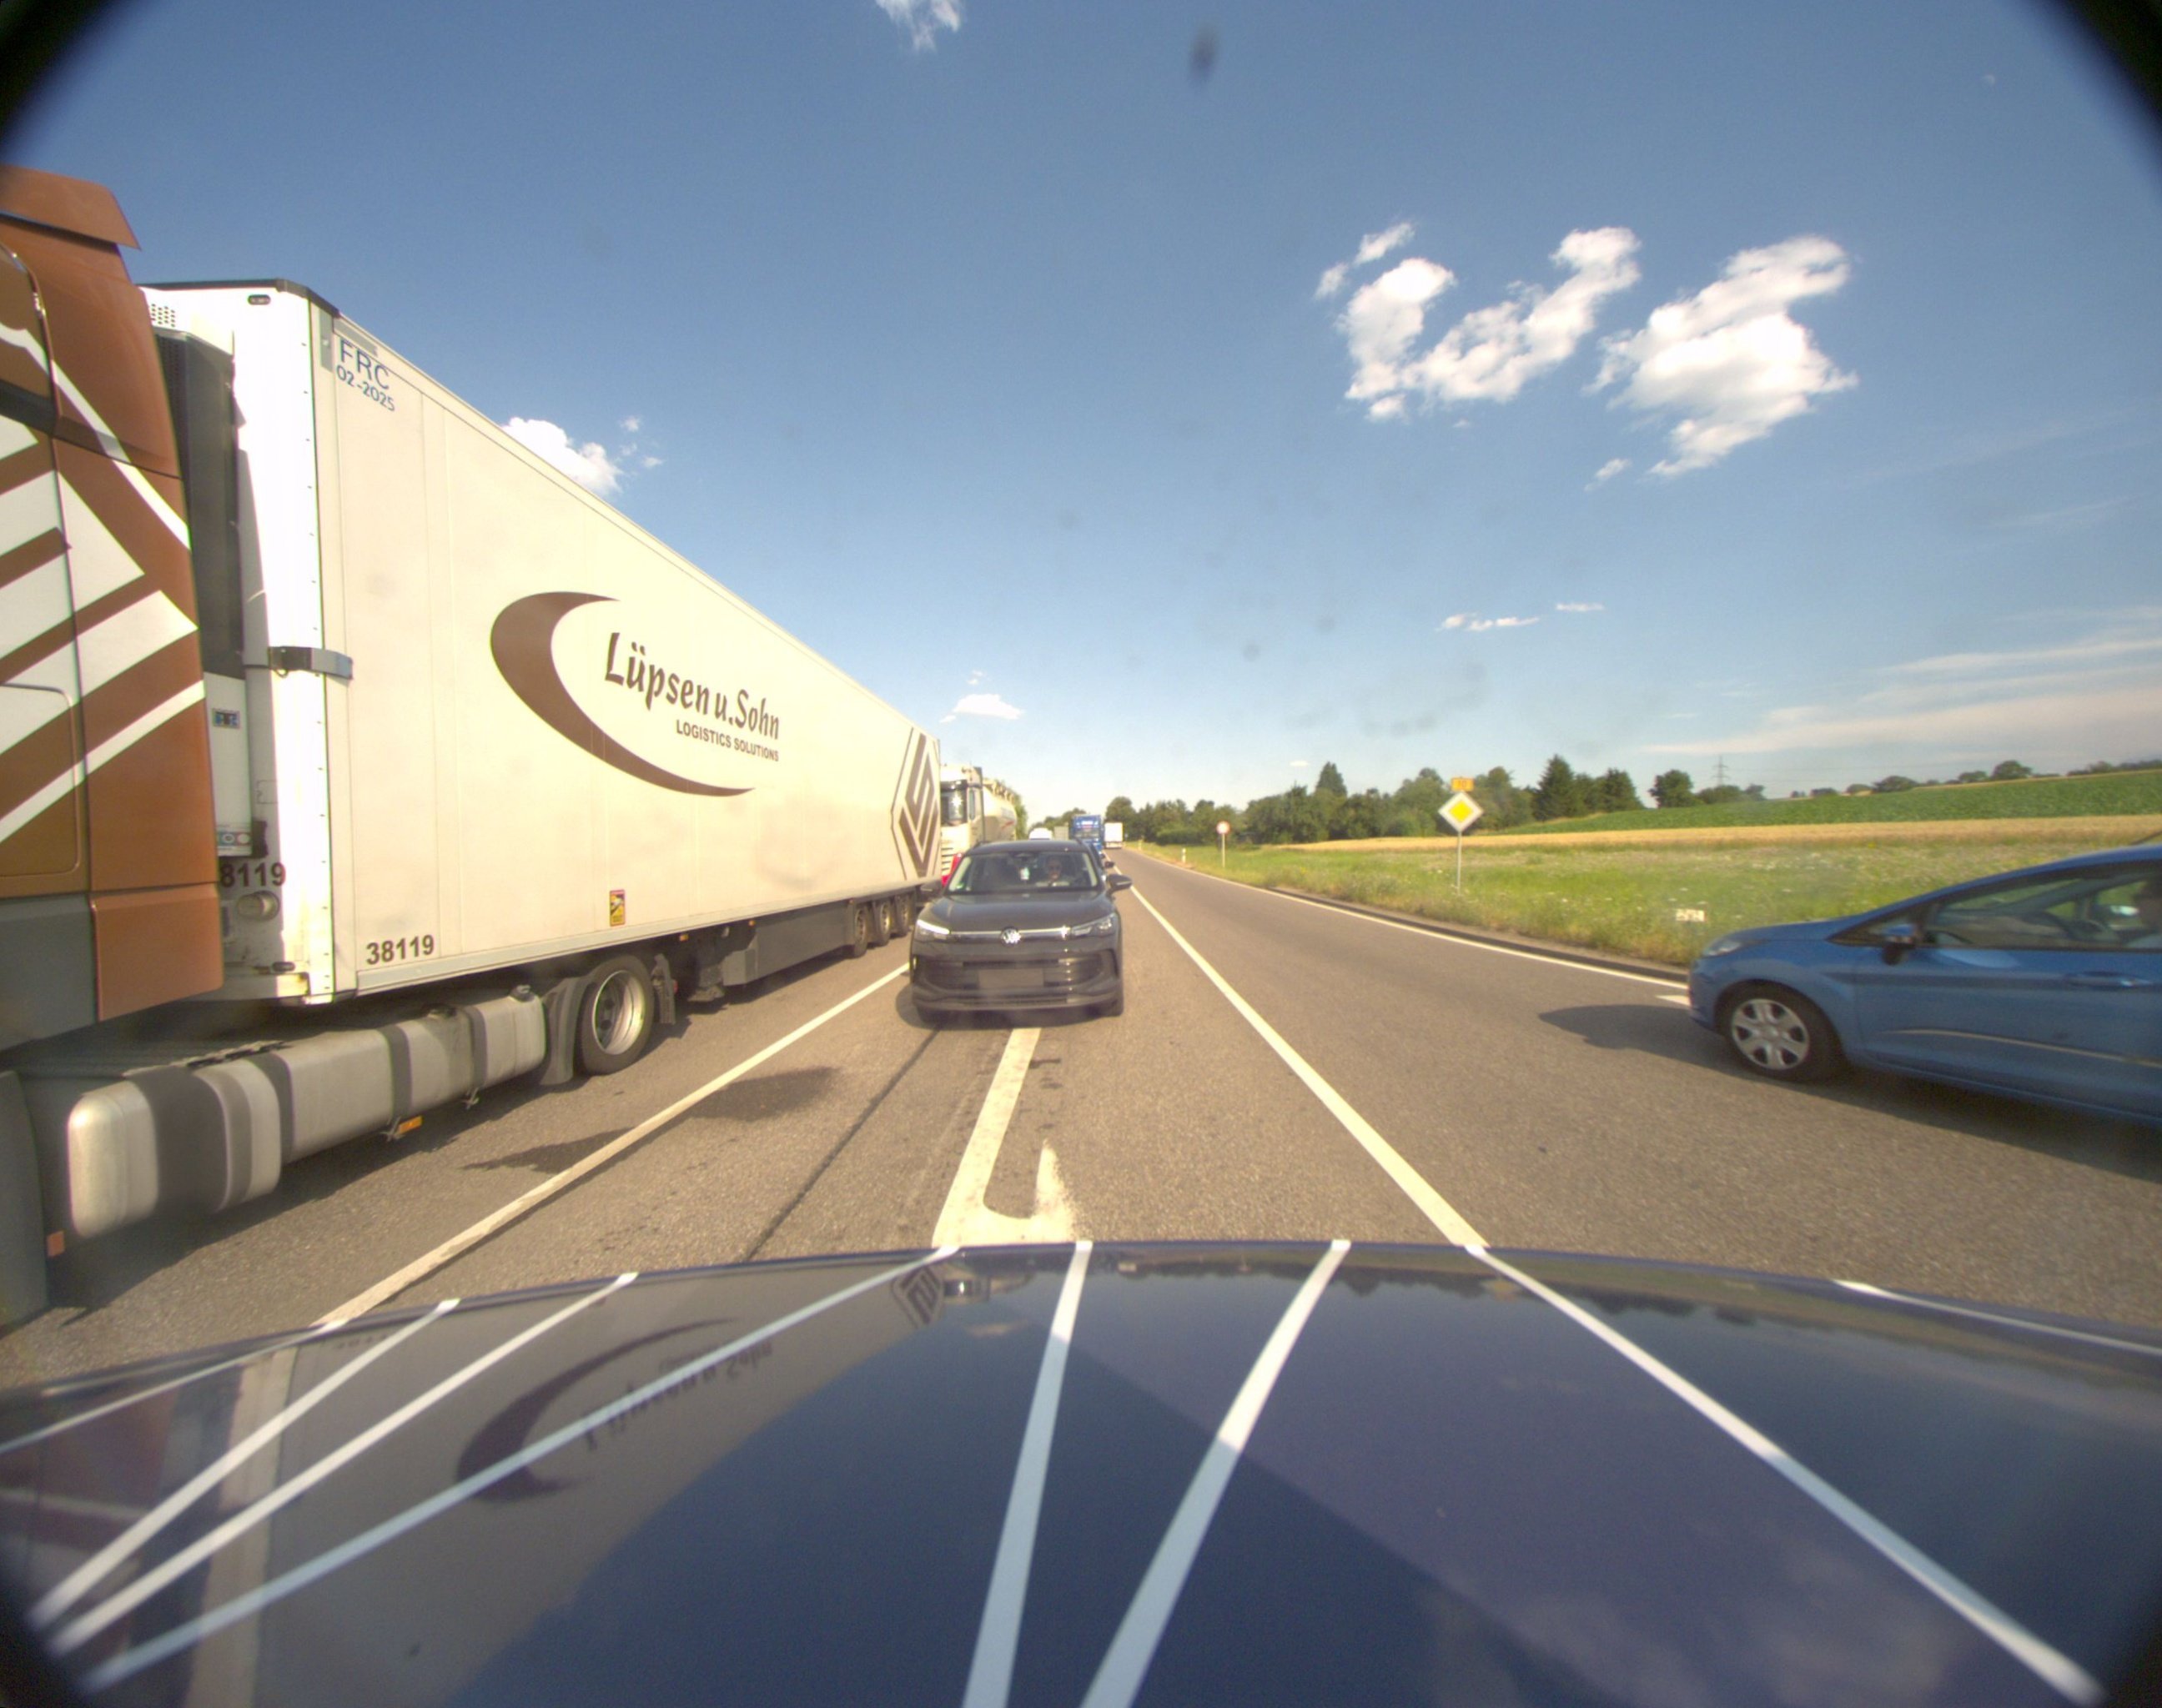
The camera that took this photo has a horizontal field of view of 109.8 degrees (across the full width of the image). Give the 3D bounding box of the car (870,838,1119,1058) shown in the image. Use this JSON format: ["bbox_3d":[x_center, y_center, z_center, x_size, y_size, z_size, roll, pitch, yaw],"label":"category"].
[{"bbox_3d":[-0.552,0.684,8.026,1.787,1.620,4.469,-2,1,4],"label":"car"}]

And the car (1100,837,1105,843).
[{"bbox_3d":[5.795,-3.846,206.779,1.427,1.563,3.504,-2,1,1],"label":"car"}]

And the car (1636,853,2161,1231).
[{"bbox_3d":[5.140,0.756,3.455,1.766,1.492,3.995,-1,0,-15],"label":"car"}]

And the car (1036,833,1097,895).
[{"bbox_3d":[-0.429,0.287,27.141,1.907,1.937,4.371,-3,1,1],"label":"car"}]

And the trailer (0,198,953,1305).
[{"bbox_3d":[-4.367,-0.401,9.983,2.538,4.043,14.334,-2,1,1],"label":"trailer"}]

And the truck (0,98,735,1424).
[{"bbox_3d":[-4.505,-0.300,3.382,2.538,4.021,6.661,-2,1,2],"label":"truck"}]

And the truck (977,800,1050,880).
[{"bbox_3d":[-3.507,-0.825,42.991,2.528,3.752,12.896,-2,1,1],"label":"truck"}]

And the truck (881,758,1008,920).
[{"bbox_3d":[-3.518,-0.418,20.981,2.261,3.783,5.685,-2,1,1],"label":"truck"}]

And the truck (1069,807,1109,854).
[{"bbox_3d":[0.722,-2.109,68.906,3.373,3.982,5.600,-2,1,1],"label":"truck"}]

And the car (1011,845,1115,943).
[{"bbox_3d":[-0.231,0.683,15.592,1.774,1.604,4.547,-2,1,2],"label":"car"}]

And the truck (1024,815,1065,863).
[{"bbox_3d":[-3.061,-1.331,66.886,2.528,3.752,12.896,-2,1,1],"label":"truck"}]

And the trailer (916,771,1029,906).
[{"bbox_3d":[-3.443,-0.519,26.593,2.264,3.756,9.523,-3,1,1],"label":"trailer"}]

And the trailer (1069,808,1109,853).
[{"bbox_3d":[0.821,-2.250,75.623,3.416,3.982,13.746,-2,1,1],"label":"trailer"}]

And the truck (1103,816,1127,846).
[{"bbox_3d":[5.308,-3.586,120.523,3.449,4.472,9.485,-2,1,1],"label":"truck"}]

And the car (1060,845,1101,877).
[{"bbox_3d":[0.010,0.318,40.134,1.998,1.477,3.999,-2,1,1],"label":"car"}]
